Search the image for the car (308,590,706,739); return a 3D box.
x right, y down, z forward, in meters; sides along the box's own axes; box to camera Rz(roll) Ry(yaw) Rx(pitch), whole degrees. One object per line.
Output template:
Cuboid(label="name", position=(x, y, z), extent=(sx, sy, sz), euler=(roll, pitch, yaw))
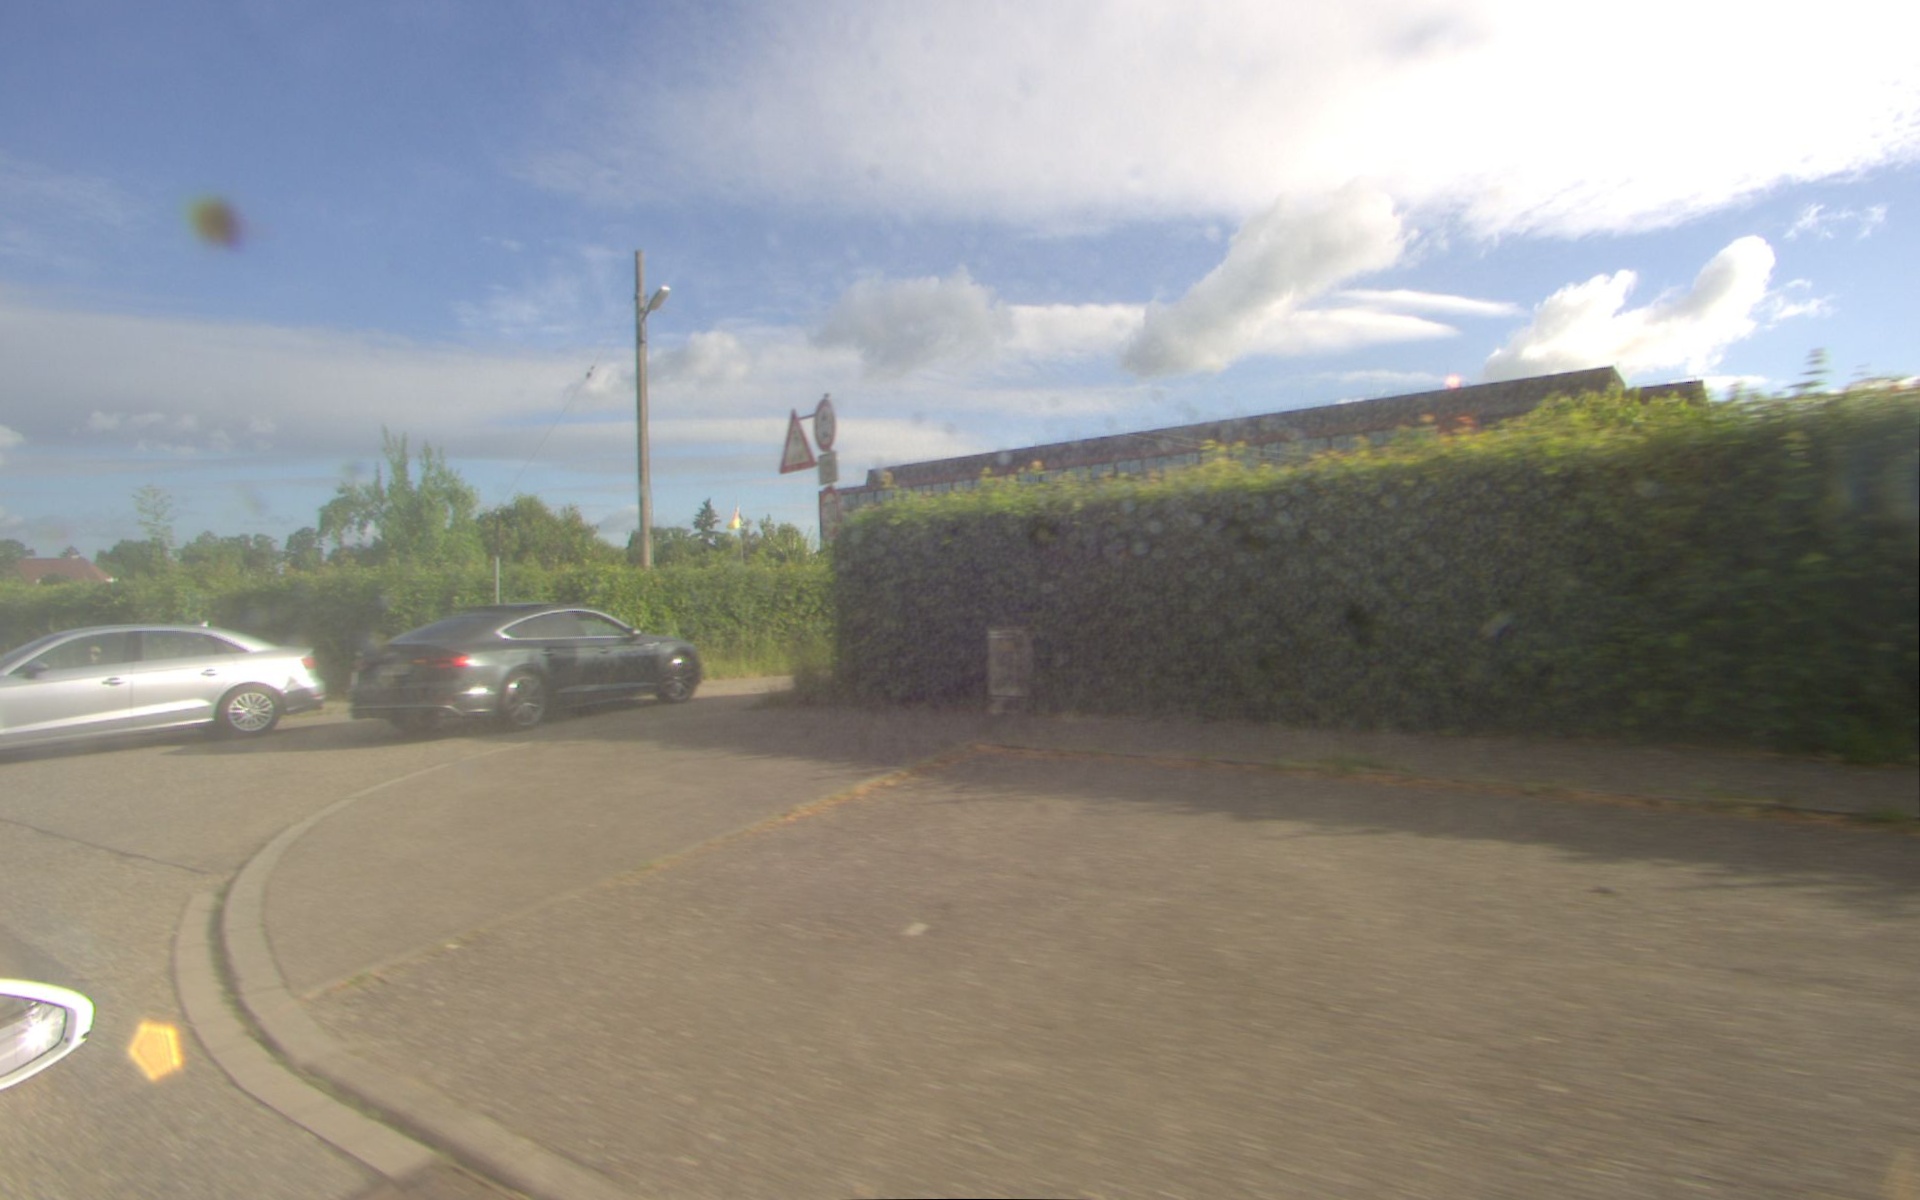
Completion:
Cuboid(label="car", position=(-5.222, 0.652, 12.293), extent=(1.939, 1.453, 4.325), euler=(-2, 0, 20))

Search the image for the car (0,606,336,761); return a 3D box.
Cuboid(label="car", position=(-9.911, 0.894, 11.412), extent=(1.910, 1.462, 4.341), euler=(-2, 1, 40))
